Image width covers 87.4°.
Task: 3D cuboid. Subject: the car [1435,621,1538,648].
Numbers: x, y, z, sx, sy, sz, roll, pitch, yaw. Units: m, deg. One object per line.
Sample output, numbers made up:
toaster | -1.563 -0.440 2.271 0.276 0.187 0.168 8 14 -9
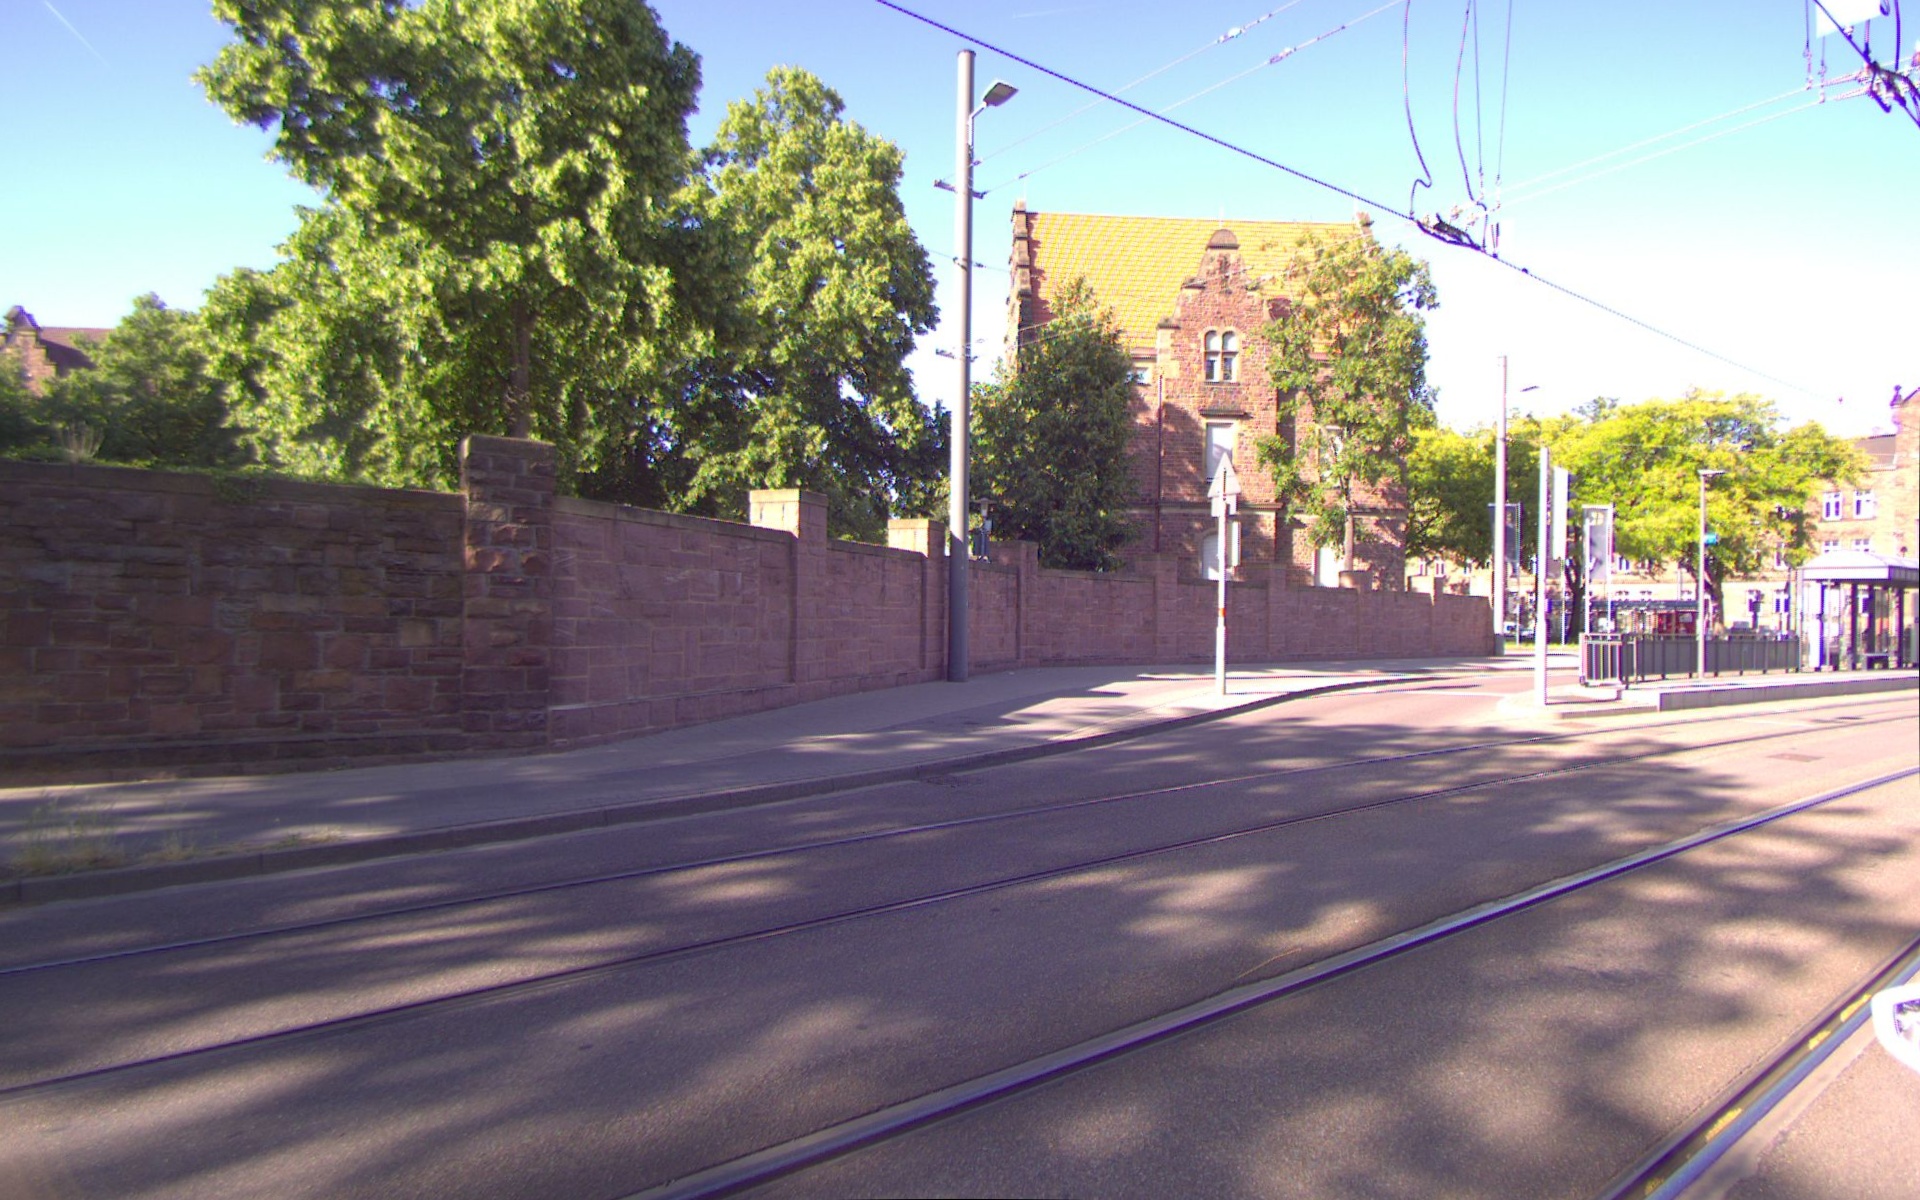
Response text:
car | 42.256 2.729 80.835 2.957 1.946 6.915 1 -1 -30

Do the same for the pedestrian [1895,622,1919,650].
pedestrian | 56.416 2.132 59.853 0.924 1.609 0.798 2 0 -32

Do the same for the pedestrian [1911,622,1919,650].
pedestrian | 54.652 2.060 56.968 0.924 1.609 0.798 2 0 -32
